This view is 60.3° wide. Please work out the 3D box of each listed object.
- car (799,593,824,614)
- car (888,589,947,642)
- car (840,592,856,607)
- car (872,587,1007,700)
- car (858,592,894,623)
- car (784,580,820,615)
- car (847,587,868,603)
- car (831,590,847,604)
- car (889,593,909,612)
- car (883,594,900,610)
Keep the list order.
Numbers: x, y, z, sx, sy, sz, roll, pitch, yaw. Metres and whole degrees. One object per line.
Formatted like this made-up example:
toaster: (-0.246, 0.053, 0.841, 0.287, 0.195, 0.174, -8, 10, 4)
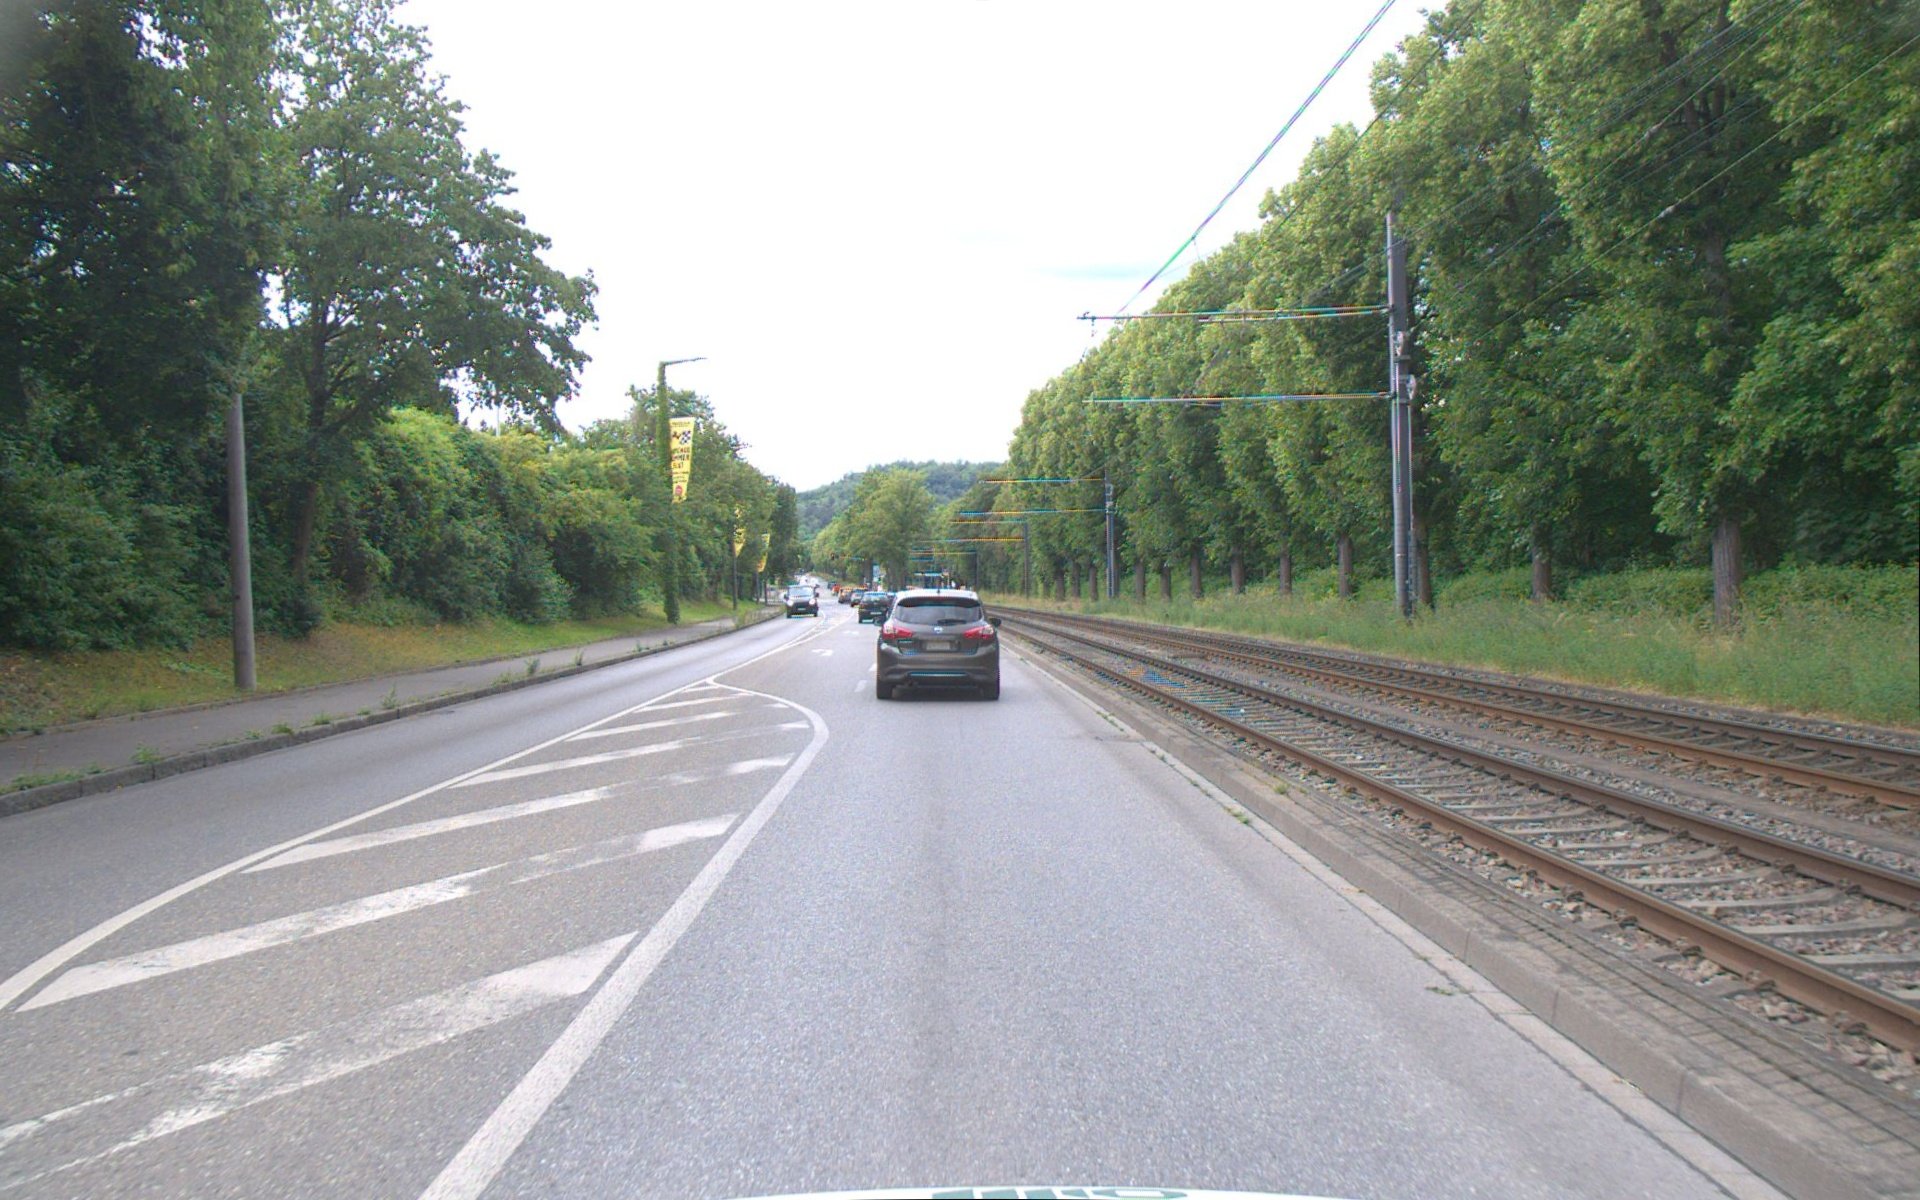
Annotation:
car: (-12.556, 0.277, 140.015, 1.805, 1.648, 4.156, -2, 0, -3)
car: (-1.261, 0.427, 48.637, 1.665, 1.469, 3.998, 0, 0, -2)
car: (-13.356, -0.107, 196.864, 1.665, 1.744, 3.999, 0, 0, -1)
car: (-0.291, 0.580, 24.351, 1.813, 1.519, 4.000, 0, 0, -1)
car: (-4.007, 0.341, 78.851, 1.666, 1.469, 3.998, 0, 0, -3)
car: (-10.093, -0.176, 105.889, 1.954, 2.071, 5.113, -3, 0, -3)
car: (-9.920, -0.497, 160.113, 1.758, 1.537, 3.999, 0, 0, -1)
car: (-15.111, -0.388, 206.682, 1.665, 1.744, 3.999, 0, 0, -1)
car: (-5.224, 0.238, 141.868, 1.681, 1.577, 3.998, 0, 0, -3)
car: (-6.842, 0.243, 164.234, 1.681, 1.577, 3.998, 0, 0, -3)
